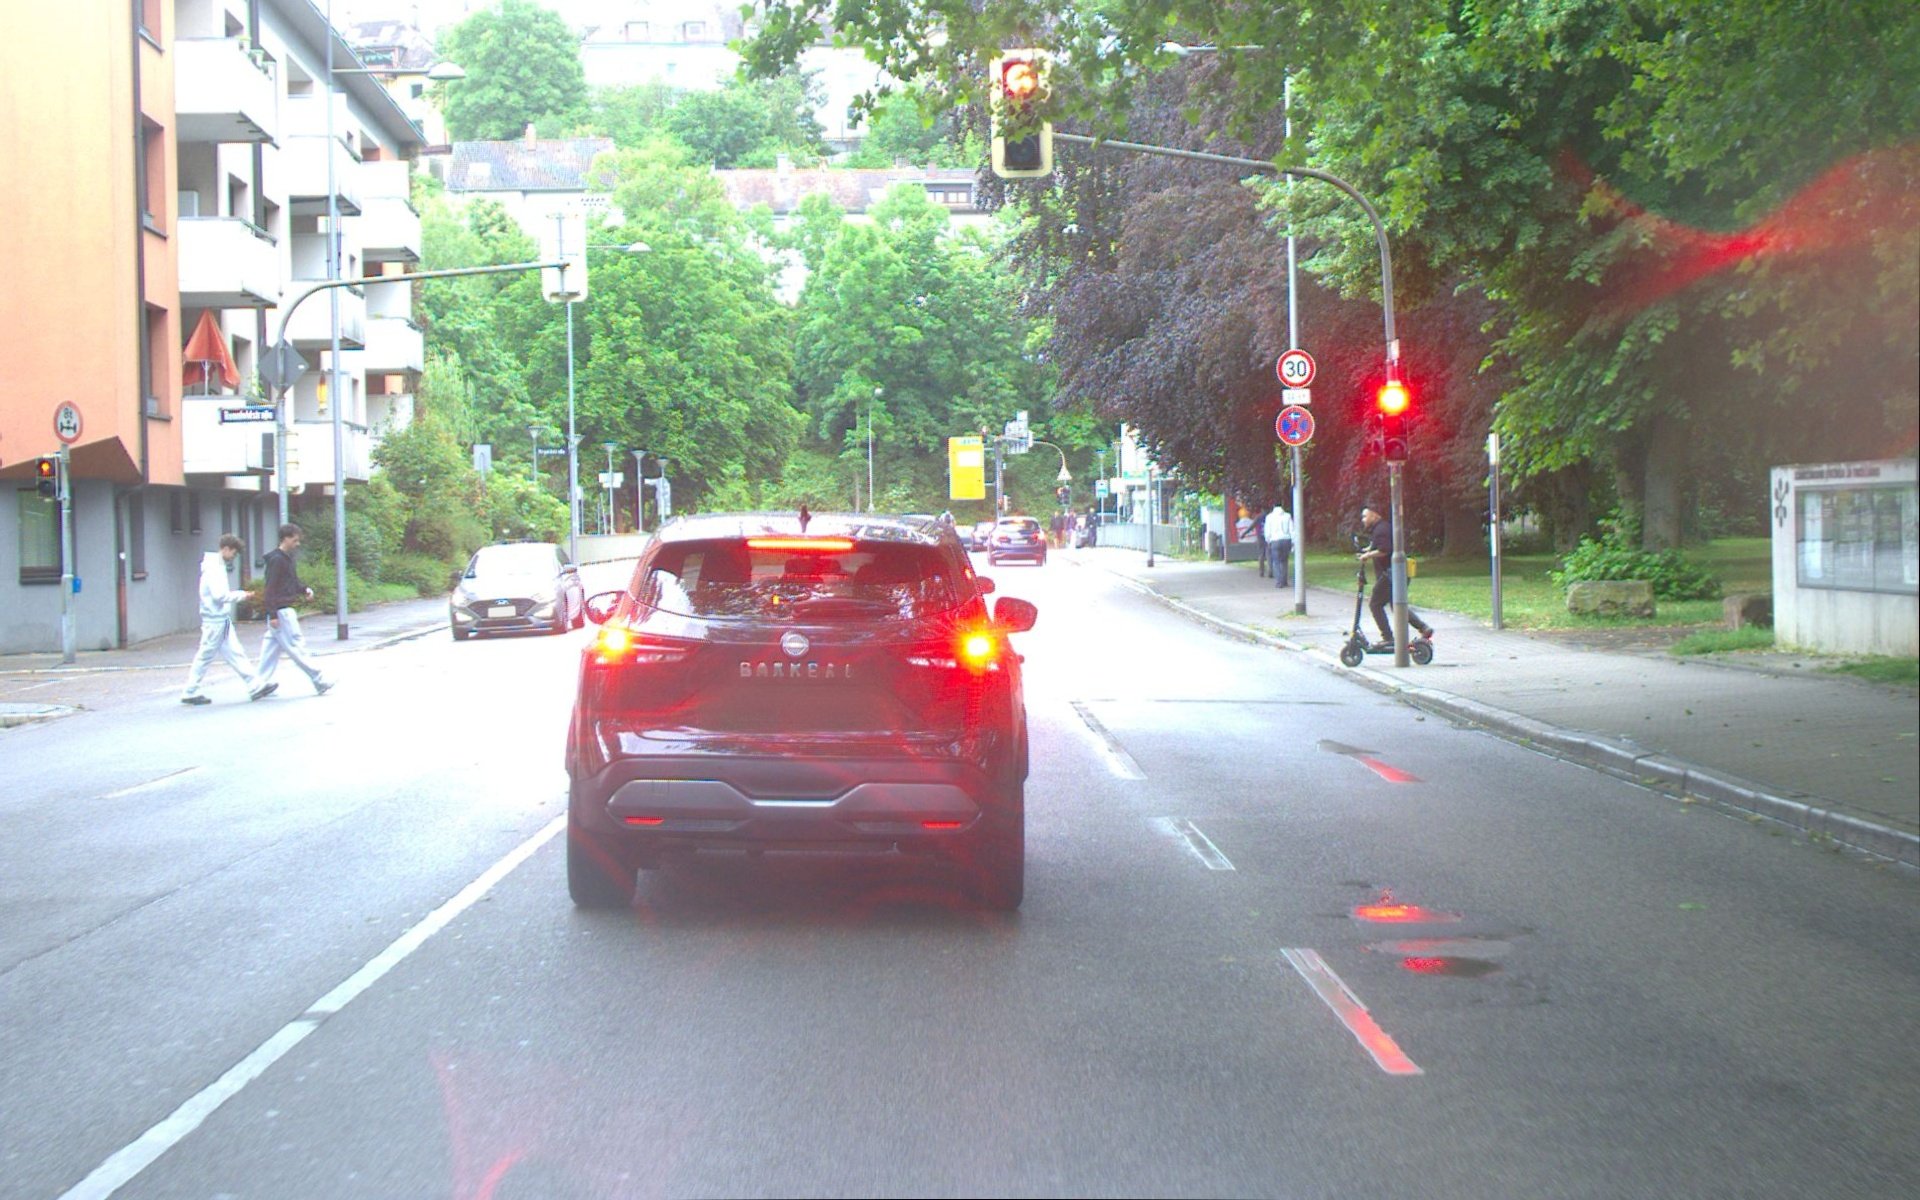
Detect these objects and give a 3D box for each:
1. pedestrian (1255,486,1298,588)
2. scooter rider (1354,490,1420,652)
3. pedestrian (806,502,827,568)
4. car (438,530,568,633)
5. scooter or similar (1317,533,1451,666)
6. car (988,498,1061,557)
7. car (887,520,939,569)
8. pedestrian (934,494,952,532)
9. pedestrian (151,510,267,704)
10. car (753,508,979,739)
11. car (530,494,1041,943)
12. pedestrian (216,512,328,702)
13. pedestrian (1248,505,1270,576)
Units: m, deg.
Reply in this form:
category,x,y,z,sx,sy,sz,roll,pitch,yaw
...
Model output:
category,x,y,z,sx,sy,sz,roll,pitch,yaw
pedestrian,6.369,-1.267,69.161,0.725,2.007,0.851,-1,1,-1
scooter rider,4.717,-0.314,37.946,0.643,1.760,0.735,-1,0,12
pedestrian,-3.987,-1.808,95.395,0.508,1.796,0.619,-2,1,-1
car,-7.248,-0.328,54.810,1.795,1.528,3.868,-2,1,-4
scooter or similar,4.695,-0.004,38.051,1.394,1.441,0.816,-1,0,12
car,2.013,-2.219,105.851,1.994,1.729,3.999,2,1,4
car,-1.553,-1.826,112.692,1.634,1.527,3.968,-2,1,-1
pedestrian,-0.734,-3.770,148.972,0.509,1.667,0.658,-1,1,27
pedestrian,-7.465,0.061,34.198,1.035,1.869,0.658,-3,1,-11
car,-0.750,0.143,28.406,1.698,1.739,3.641,-2,1,-1
car,-0.682,0.405,14.976,1.913,1.674,4.000,1,1,-1
pedestrian,-7.015,0.061,35.050,1.035,1.869,0.658,-3,1,-11
pedestrian,6.356,-1.271,73.081,0.390,1.497,0.559,-1,1,-1
